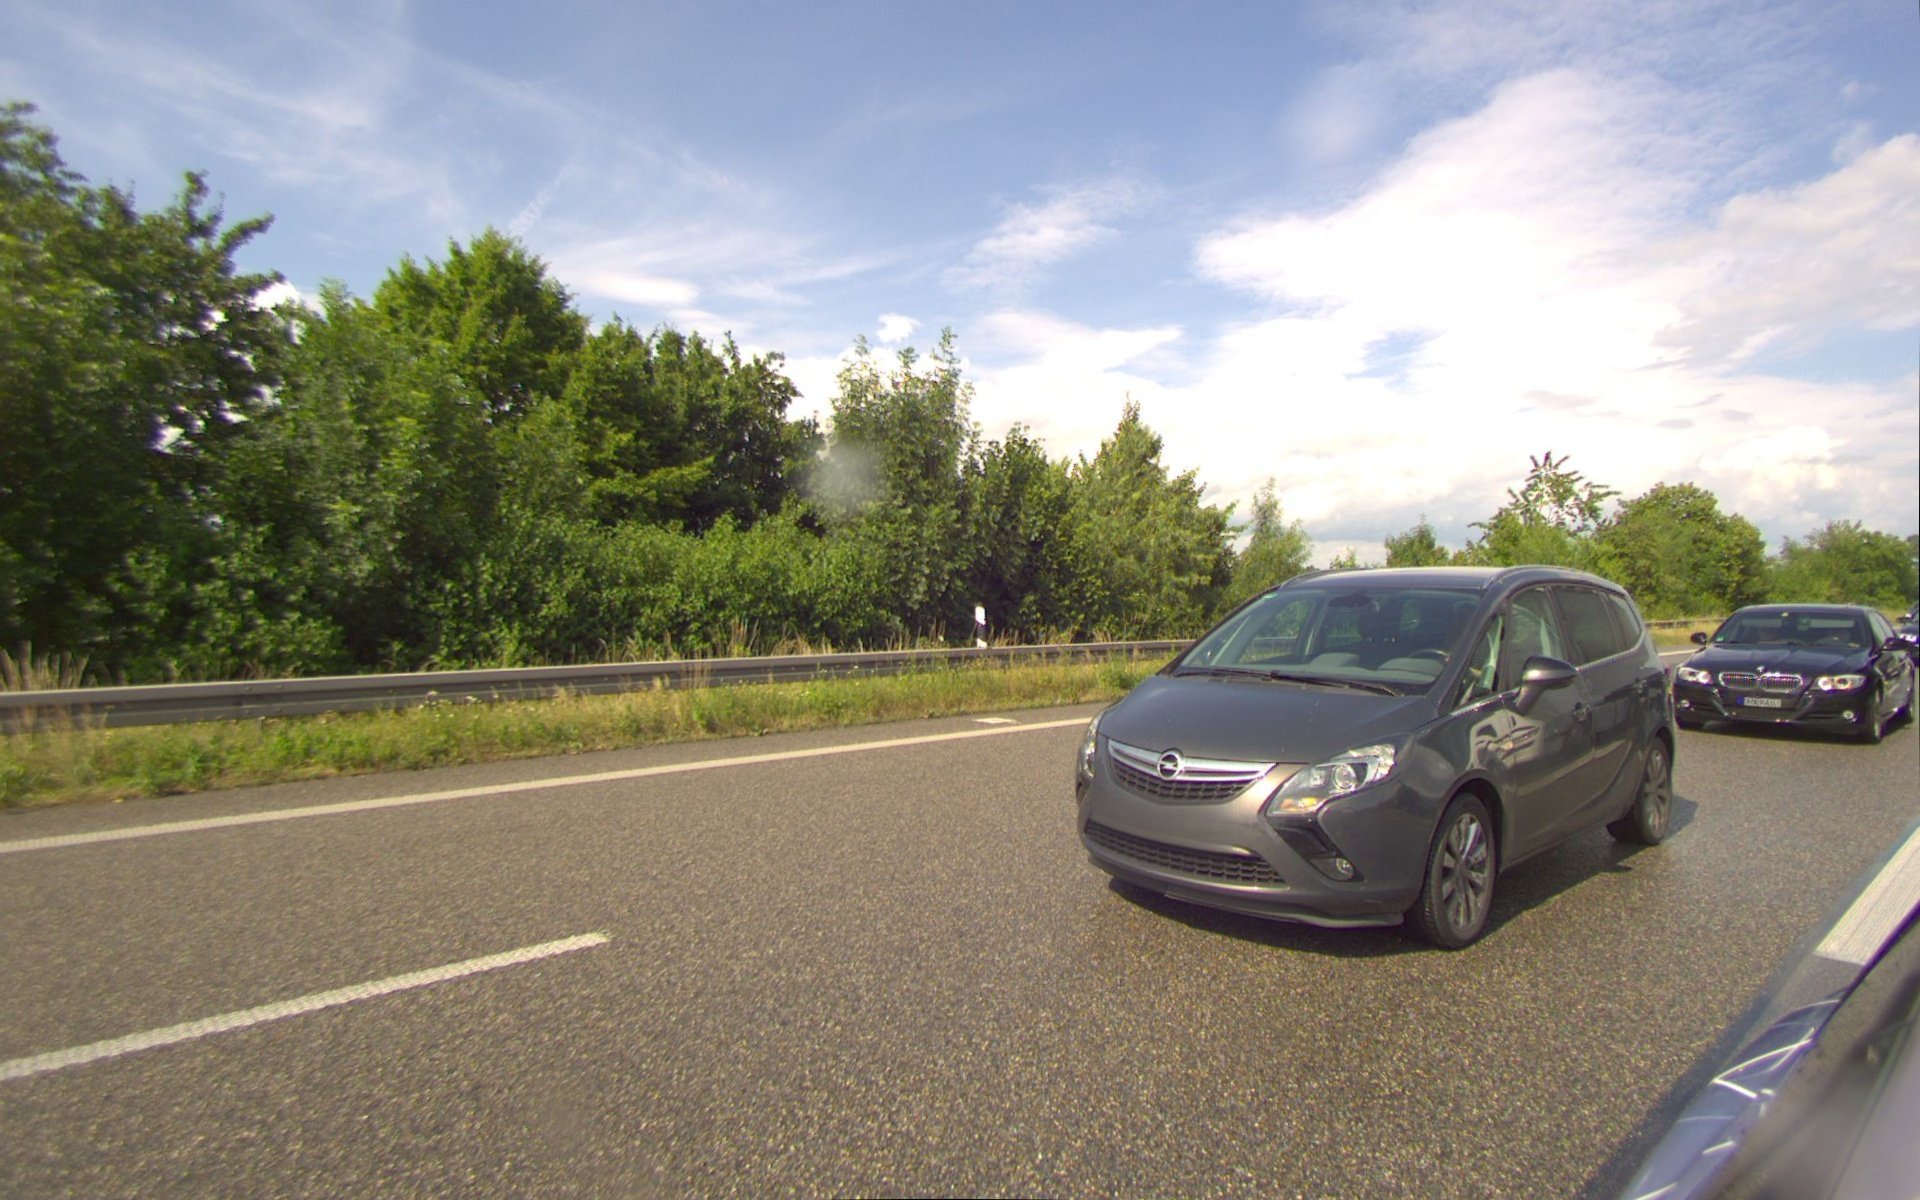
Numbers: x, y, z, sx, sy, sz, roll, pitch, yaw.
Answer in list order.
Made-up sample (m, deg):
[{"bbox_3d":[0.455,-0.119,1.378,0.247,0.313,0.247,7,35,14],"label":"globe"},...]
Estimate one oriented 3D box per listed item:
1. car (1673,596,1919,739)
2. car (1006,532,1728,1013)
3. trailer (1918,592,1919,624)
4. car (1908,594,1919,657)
[{"bbox_3d":[9.816,0.651,11.688,3.816,1.371,1.721,0,0,-41],"label":"car"},{"bbox_3d":[2.582,0.575,5.711,4.652,1.652,1.857,0,0,-41],"label":"car"},{"bbox_3d":[55.765,0.435,57.257,3.896,1.768,1.809,0,0,-39],"label":"trailer"},{"bbox_3d":[22.776,0.557,22.944,3.935,1.382,1.740,0,1,-45],"label":"car"}]
